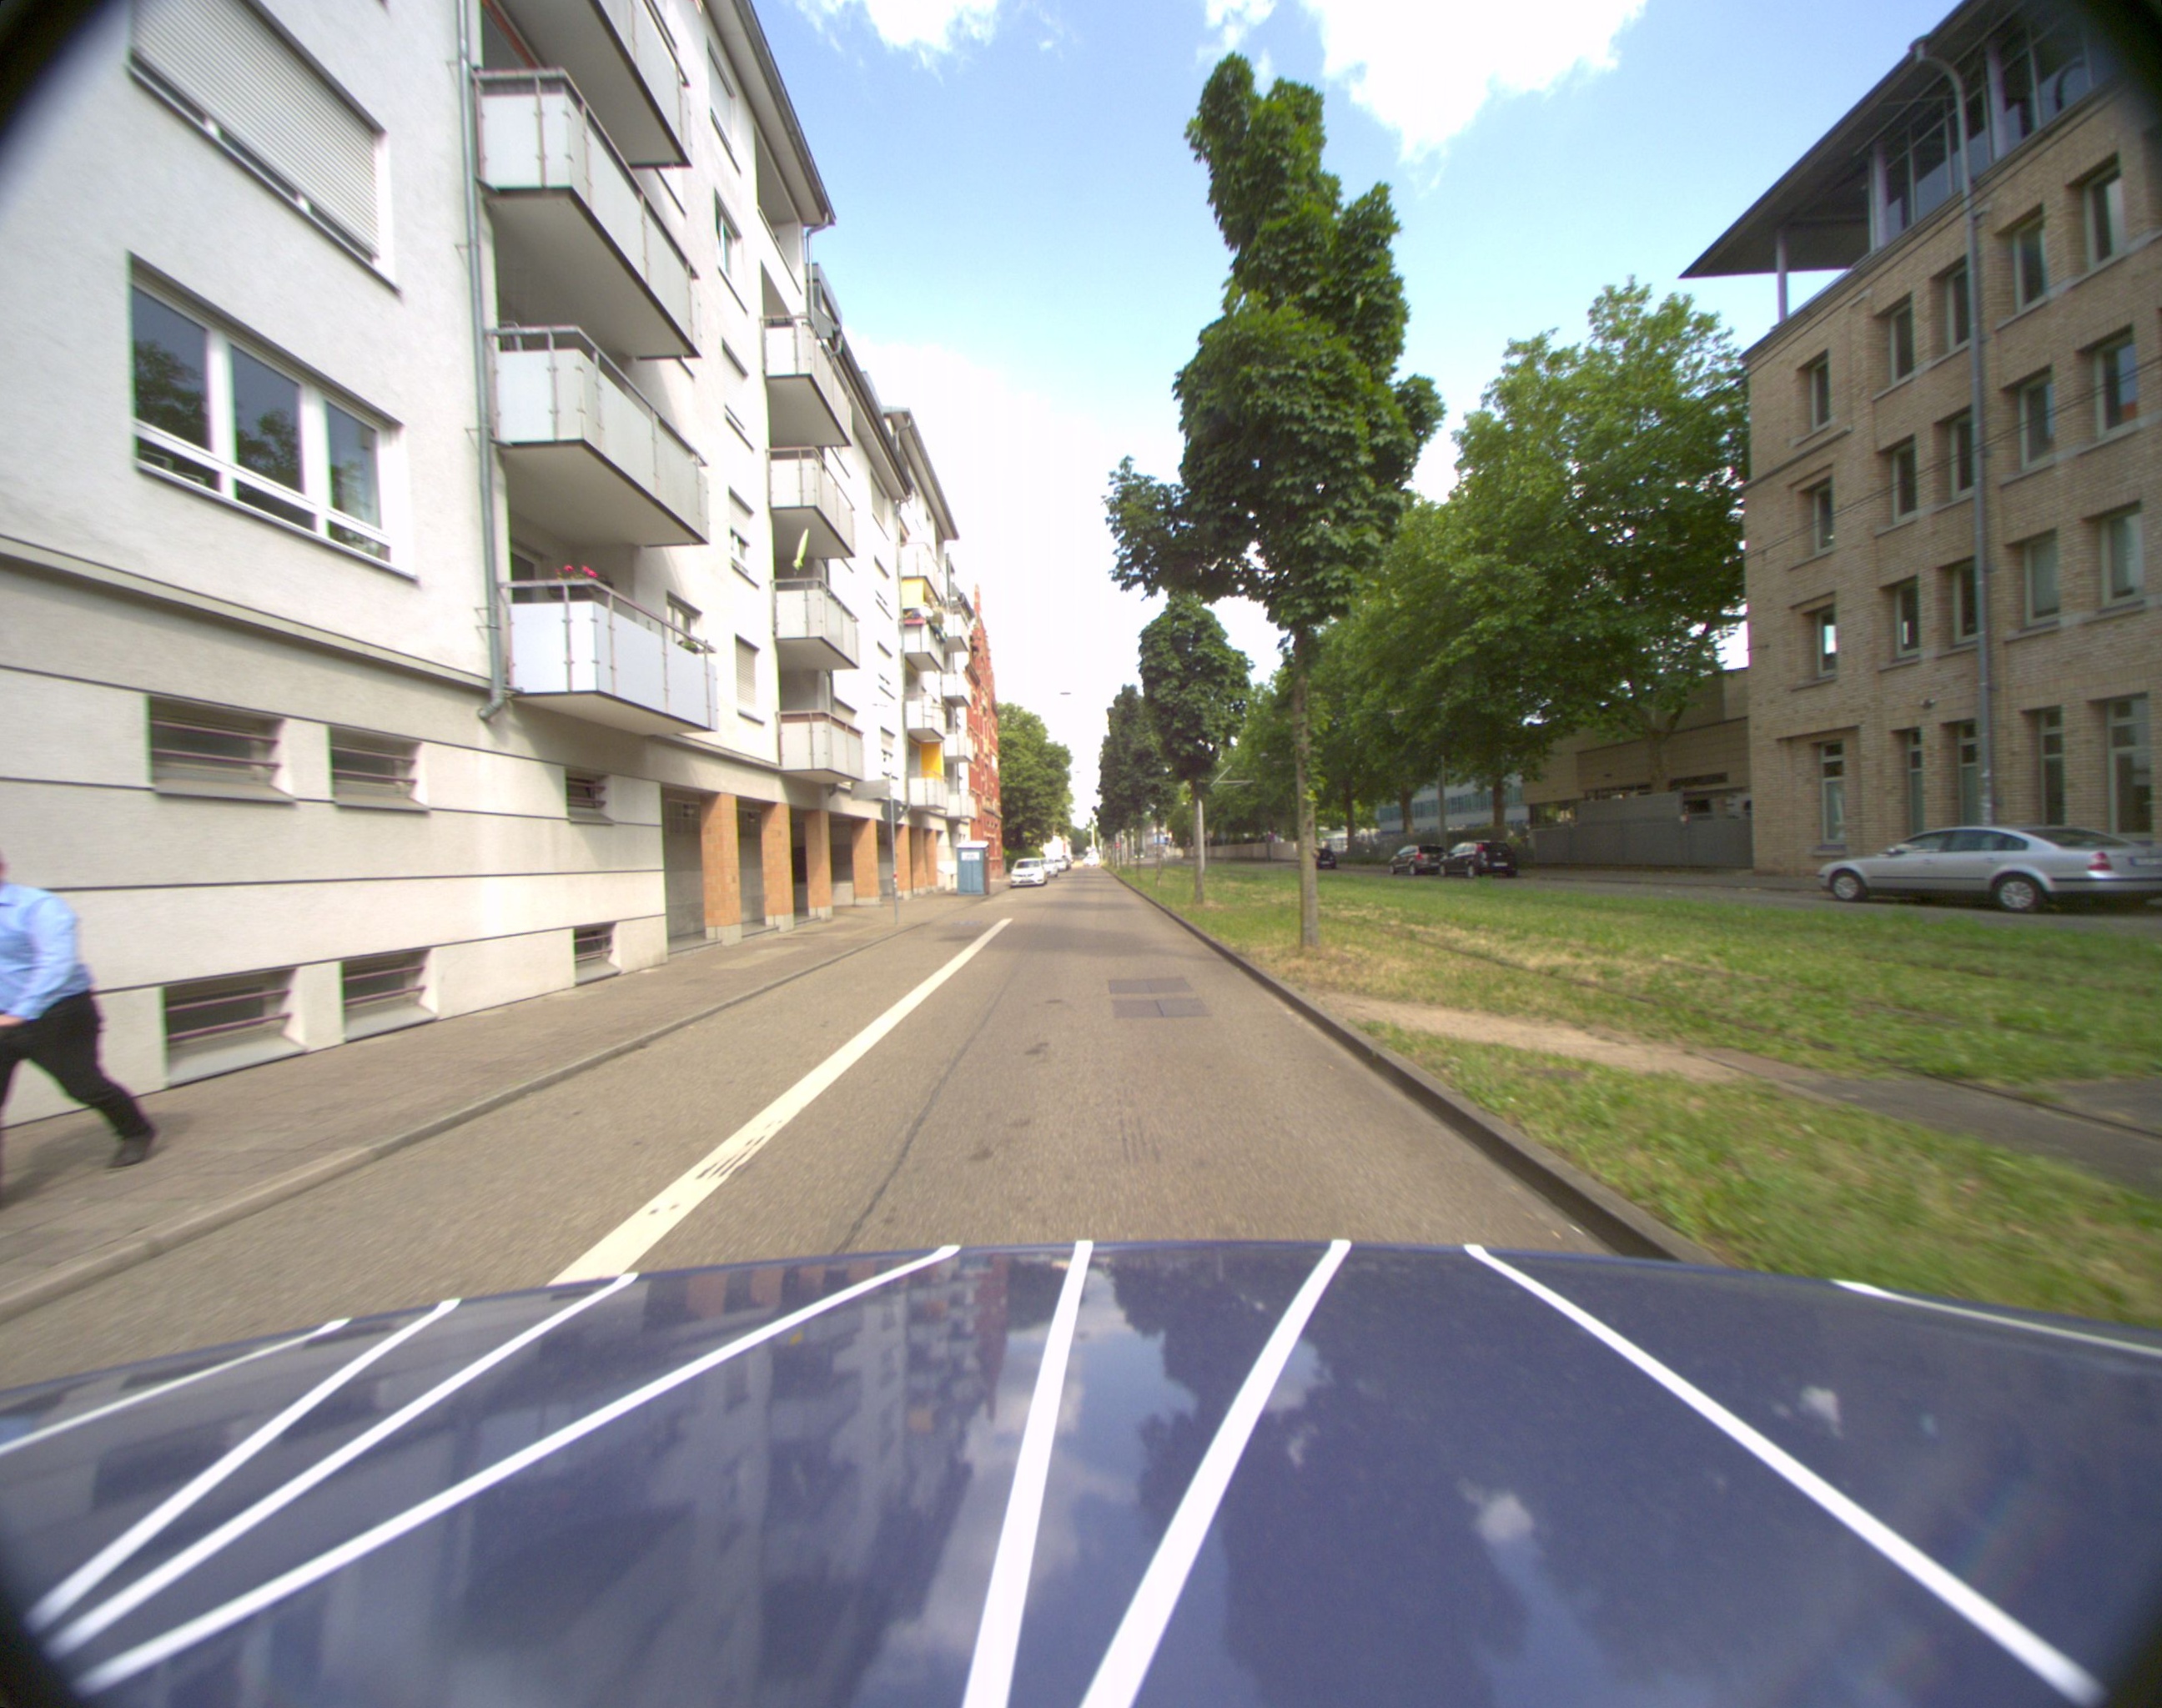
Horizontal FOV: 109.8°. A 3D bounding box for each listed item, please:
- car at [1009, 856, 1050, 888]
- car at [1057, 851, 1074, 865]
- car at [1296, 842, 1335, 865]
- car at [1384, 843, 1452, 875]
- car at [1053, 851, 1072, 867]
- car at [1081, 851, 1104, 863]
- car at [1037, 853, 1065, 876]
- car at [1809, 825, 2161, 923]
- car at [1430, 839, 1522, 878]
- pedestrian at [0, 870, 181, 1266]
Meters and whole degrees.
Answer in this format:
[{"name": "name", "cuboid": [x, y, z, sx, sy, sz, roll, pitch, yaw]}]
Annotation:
[{"name": "car", "cuboid": [-2.735, 0.907, 41.043, 1.801, 1.521, 4.041, -3, 0, 1]}, {"name": "car", "cuboid": [-1.940, 0.491, 96.200, 1.801, 1.521, 4.040, -5, 0, 1]}, {"name": "car", "cuboid": [16.060, -0.070, 52.195, 1.601, 1.455, 4.000, -2, 0, 2]}, {"name": "car", "cuboid": [16.047, 0.211, 36.379, 1.558, 1.417, 3.901, -2, 0, 1]}, {"name": "car", "cuboid": [-1.887, 0.500, 79.221, 1.801, 1.521, 4.040, -5, 0, 1]}, {"name": "car", "cuboid": [1.717, 0.482, 110.022, 1.798, 1.521, 4.047, -3, 1, 24]}, {"name": "car", "cuboid": [-2.237, 0.778, 57.252, 1.801, 1.521, 4.040, -3, 0, 1]}, {"name": "car", "cuboid": [15.722, 0.272, 13.311, 1.719, 1.388, 4.484, -2, 0, 2]}, {"name": "car", "cuboid": [15.942, 0.153, 30.895, 1.807, 1.444, 4.001, -2, 0, 4]}, {"name": "pedestrian", "cuboid": [-5.085, 0.957, 3.582, 0.622, 1.729, 0.877, 1, 1, 2]}]
